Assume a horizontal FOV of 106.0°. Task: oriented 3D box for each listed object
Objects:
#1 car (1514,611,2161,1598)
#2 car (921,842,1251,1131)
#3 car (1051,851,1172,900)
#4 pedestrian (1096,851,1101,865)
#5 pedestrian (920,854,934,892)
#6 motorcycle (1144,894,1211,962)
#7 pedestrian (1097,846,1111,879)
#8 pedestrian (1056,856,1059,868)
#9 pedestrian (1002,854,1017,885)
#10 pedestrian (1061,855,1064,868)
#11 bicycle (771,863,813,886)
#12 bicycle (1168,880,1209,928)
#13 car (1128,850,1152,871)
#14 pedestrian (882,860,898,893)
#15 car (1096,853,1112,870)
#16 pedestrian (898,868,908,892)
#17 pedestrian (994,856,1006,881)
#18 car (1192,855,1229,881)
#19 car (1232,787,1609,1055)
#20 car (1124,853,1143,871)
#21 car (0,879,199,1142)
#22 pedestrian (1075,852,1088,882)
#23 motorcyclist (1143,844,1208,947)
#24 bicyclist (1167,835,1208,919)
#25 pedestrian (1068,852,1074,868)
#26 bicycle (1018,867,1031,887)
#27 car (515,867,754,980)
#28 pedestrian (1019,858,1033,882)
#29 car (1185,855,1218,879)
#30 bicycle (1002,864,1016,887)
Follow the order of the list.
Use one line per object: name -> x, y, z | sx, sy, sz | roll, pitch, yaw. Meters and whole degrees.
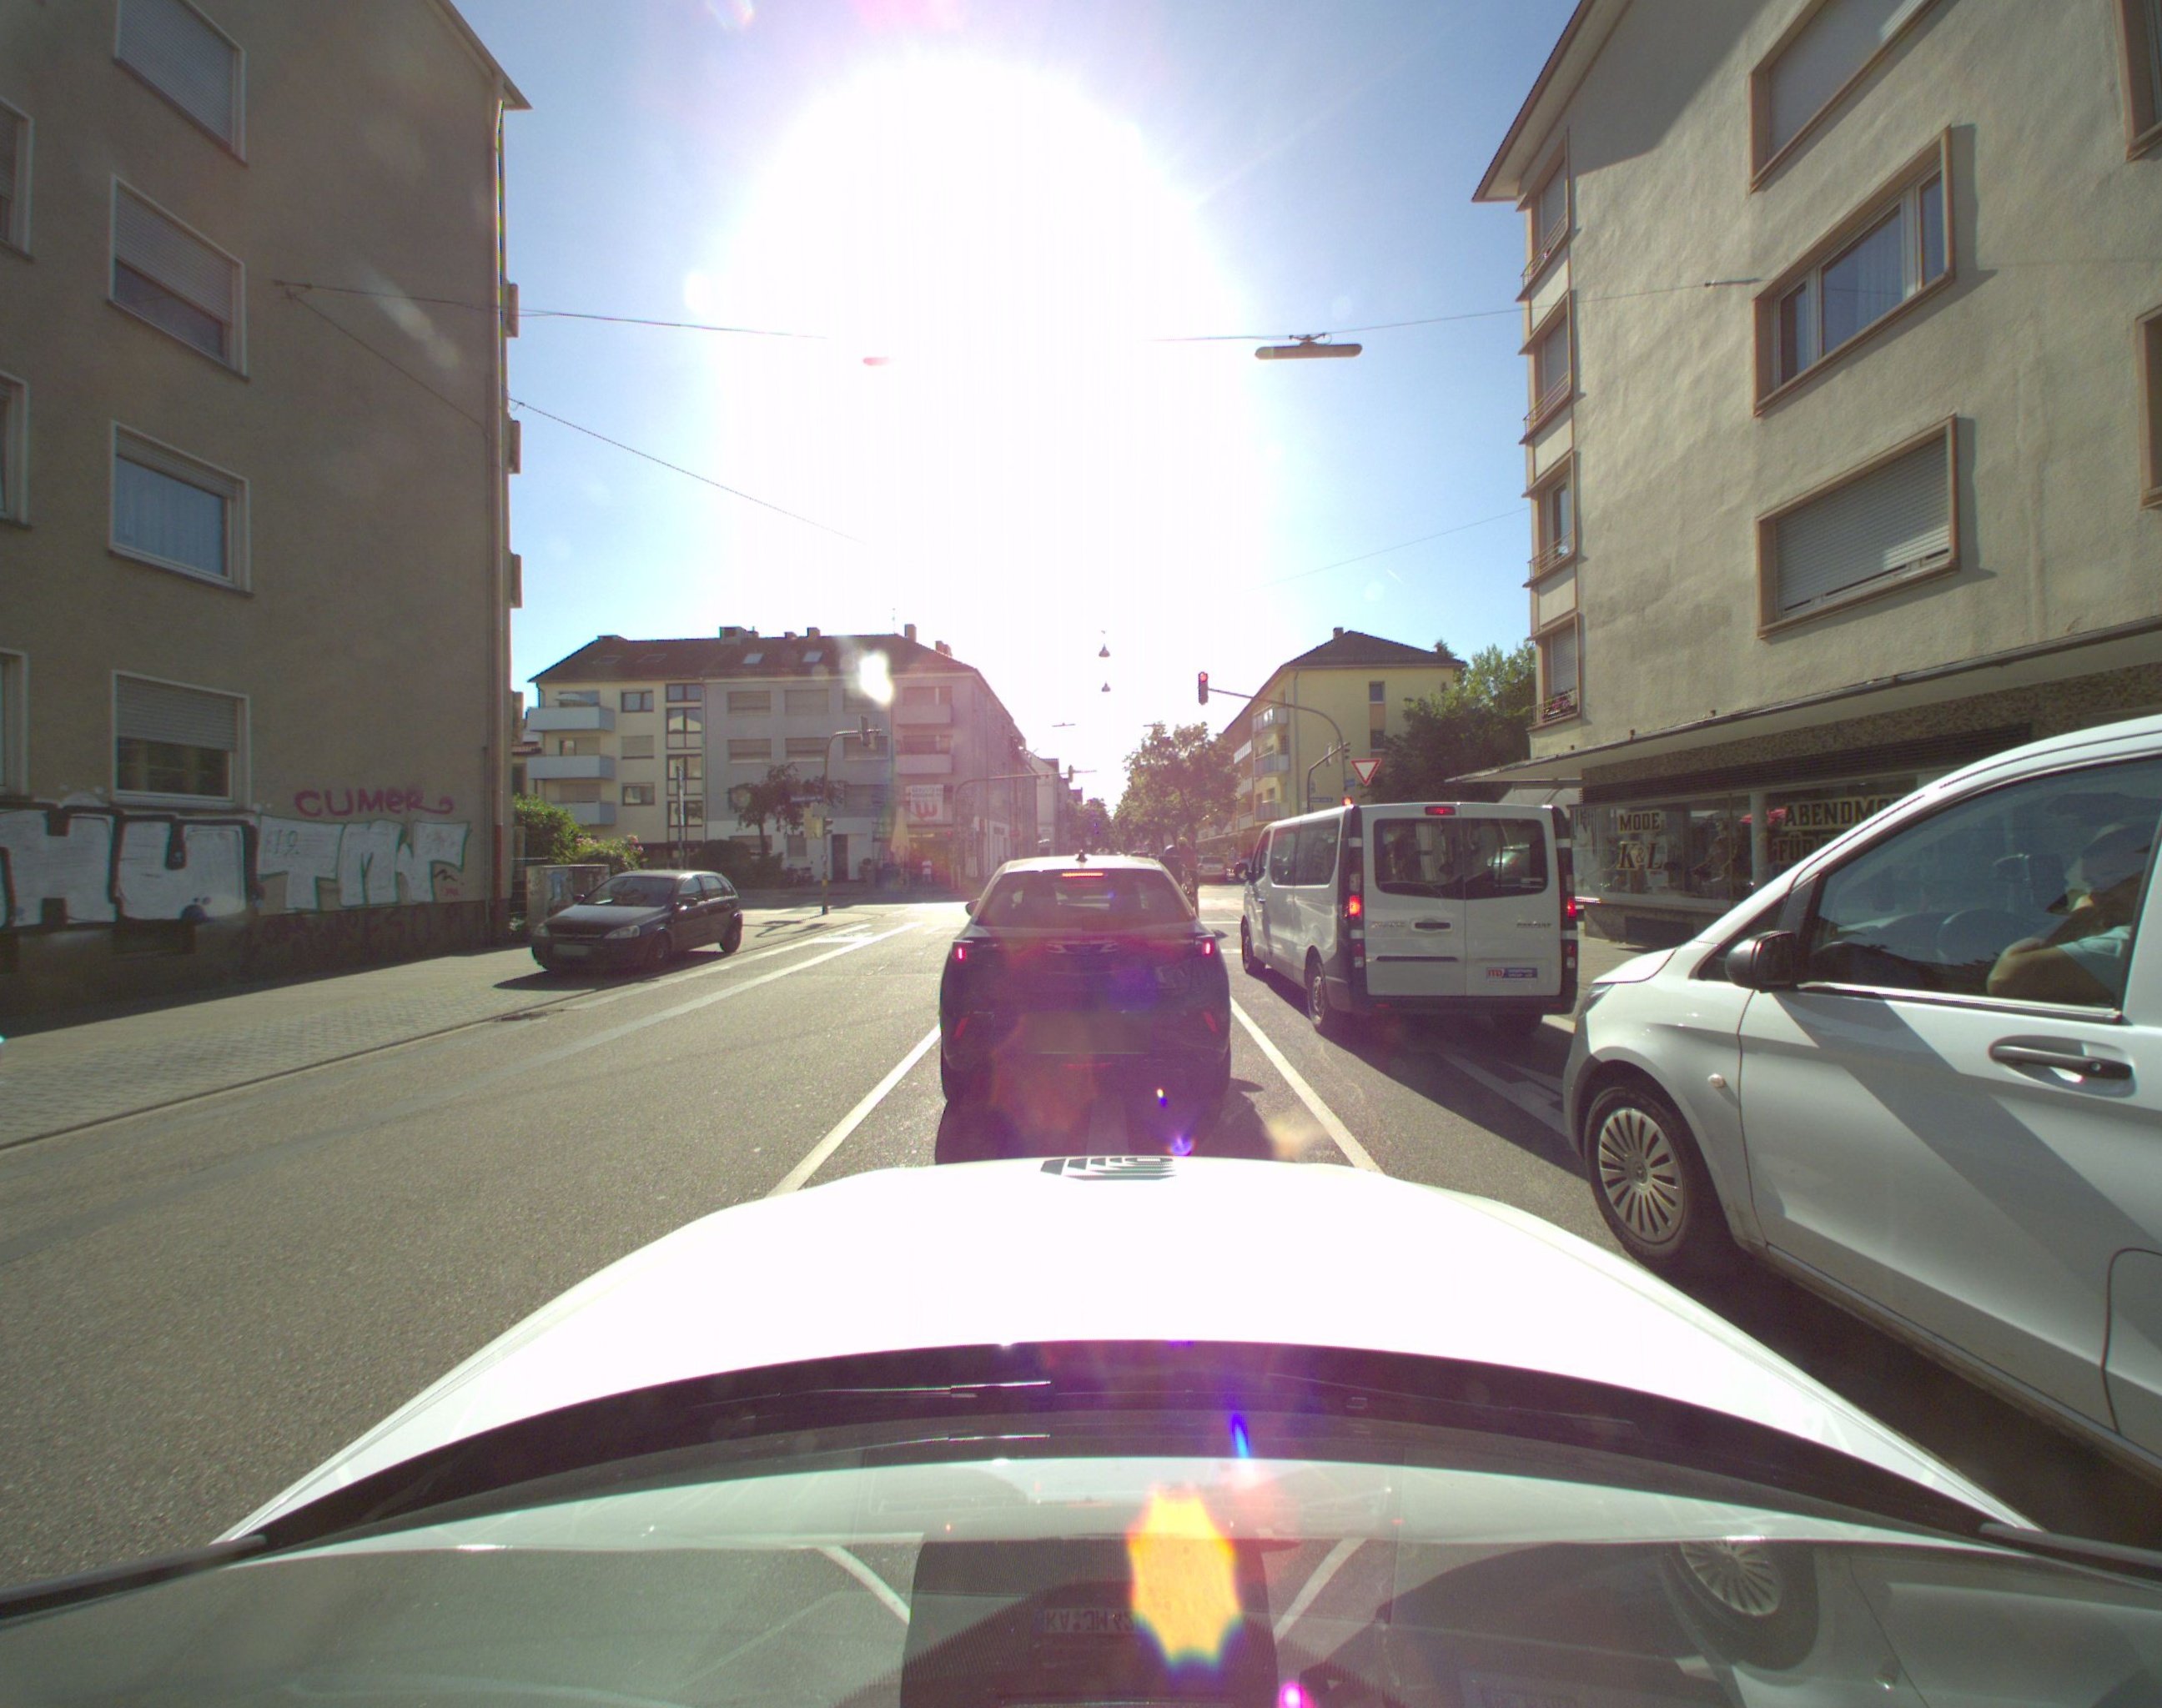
car -> 2.956, 0.464, 1.277 | 1.831, 1.869, 4.994 | -1, 0, -1
car -> 0.032, 0.716, 6.413 | 1.765, 1.530, 3.999 | -1, 0, 0
car -> 1.052, 0.720, 28.051 | 3.972, 1.486, 1.834 | -2, 0, 1
pedestrian -> 2.144, 0.467, 99.155 | 0.486, 1.690, 0.588 | -1, 0, 1
pedestrian -> -7.256, 0.891, 38.411 | 0.560, 1.775, 0.582 | -1, 0, -7
motorcycle -> 1.408, 1.069, 12.225 | 0.822, 0.845, 1.885 | -1, 0, 1
pedestrian -> 1.219, 0.458, 43.697 | 0.704, 1.701, 0.802 | -1, 0, 0
pedestrian -> -3.153, 1.046, 108.829 | 0.400, 1.675, 0.418 | -1, 0, 1
pedestrian -> -3.867, 0.824, 43.923 | 0.704, 1.678, 0.802 | -1, 0, 0
pedestrian -> -2.492, 0.977, 108.392 | 0.400, 1.675, 0.418 | -1, 0, 1
bicycle -> -15.358, 1.074, 43.280 | 2.103, 1.172, 0.735 | -1, 0, -22
bicycle -> 2.299, 1.051, 17.677 | 0.575, 0.904, 2.301 | -1, 0, 0
car -> 5.001, 0.520, 69.210 | 1.894, 1.728, 4.077 | -1, 0, 3
pedestrian -> -8.879, 1.038, 37.828 | 0.582, 1.521, 0.649 | -1, 0, -1
car -> 2.714, 0.900, 97.434 | 1.848, 2.013, 3.882 | -1, 0, 2
pedestrian -> -8.237, 1.208, 37.767 | 0.354, 1.092, 0.461 | -1, 0, -1
pedestrian -> -4.948, 0.872, 49.788 | 0.615, 1.521, 0.724 | -1, 0, -1
car -> 7.461, 0.776, 47.144 | 1.628, 1.433, 3.958 | -1, 0, 2
car -> 2.990, 0.497, 8.523 | 1.986, 1.979, 4.896 | 1, 0, 1
car -> 5.352, 0.812, 83.319 | 1.894, 1.728, 4.003 | -1, 0, 2
car -> -7.120, 0.914, 3.308 | 1.711, 1.465, 4.817 | 1, 0, 1
pedestrian -> 0.029, 0.707, 43.919 | 0.678, 1.606, 0.762 | -1, 0, 0
motorcyclist -> 1.426, 0.607, 12.470 | 0.861, 1.502, 1.160 | -1, 0, 1
bicyclist -> 2.279, 0.480, 17.575 | 0.687, 1.712, 1.414 | -1, 0, 0
pedestrian -> -1.042, 0.656, 86.364 | 0.567, 1.690, 0.589 | -1, 0, 9
bicycle -> -3.038, 1.224, 44.152 | 0.520, 0.992, 2.339 | -1, 0, 0
car -> -6.766, 0.963, 12.835 | 1.610, 1.425, 3.711 | 1, 0, 1
pedestrian -> -2.947, 0.872, 43.757 | 0.704, 1.253, 0.802 | -1, 0, 0
car -> 7.641, 0.769, 51.896 | 1.628, 1.433, 4.002 | -1, 0, 2
bicycle -> -3.899, 1.155, 44.156 | 0.520, 1.147, 2.283 | -1, 0, 0
